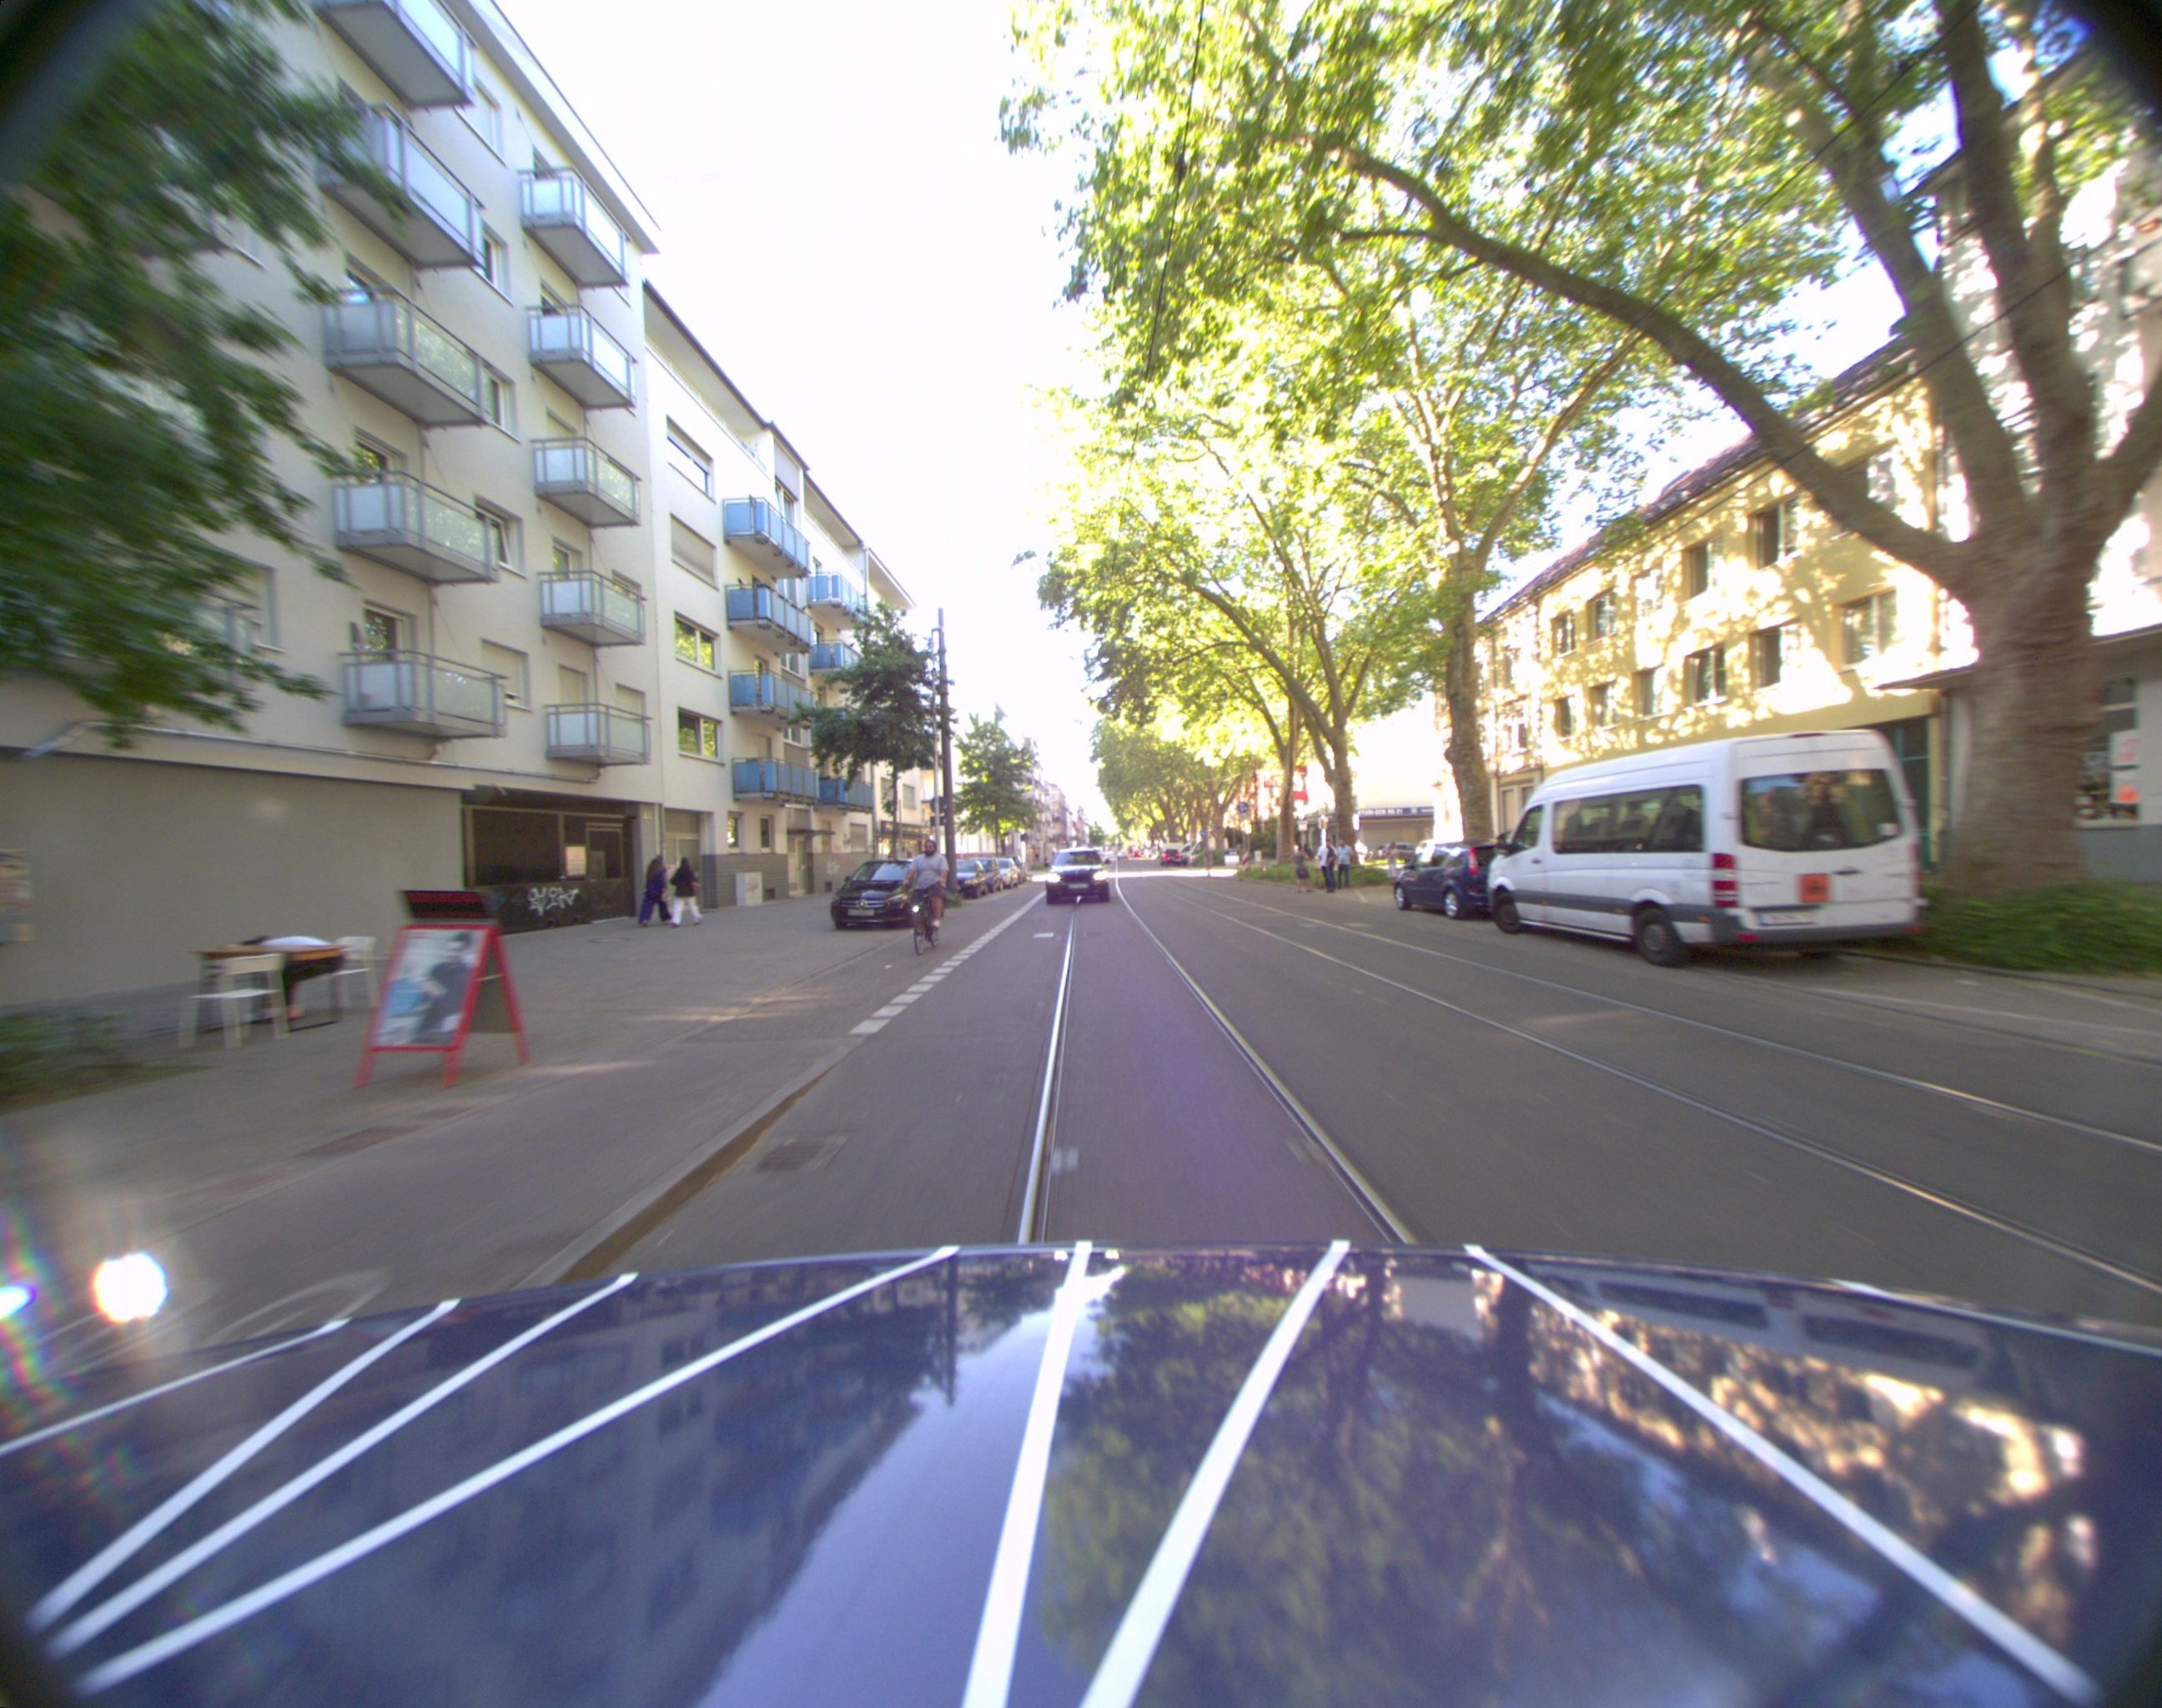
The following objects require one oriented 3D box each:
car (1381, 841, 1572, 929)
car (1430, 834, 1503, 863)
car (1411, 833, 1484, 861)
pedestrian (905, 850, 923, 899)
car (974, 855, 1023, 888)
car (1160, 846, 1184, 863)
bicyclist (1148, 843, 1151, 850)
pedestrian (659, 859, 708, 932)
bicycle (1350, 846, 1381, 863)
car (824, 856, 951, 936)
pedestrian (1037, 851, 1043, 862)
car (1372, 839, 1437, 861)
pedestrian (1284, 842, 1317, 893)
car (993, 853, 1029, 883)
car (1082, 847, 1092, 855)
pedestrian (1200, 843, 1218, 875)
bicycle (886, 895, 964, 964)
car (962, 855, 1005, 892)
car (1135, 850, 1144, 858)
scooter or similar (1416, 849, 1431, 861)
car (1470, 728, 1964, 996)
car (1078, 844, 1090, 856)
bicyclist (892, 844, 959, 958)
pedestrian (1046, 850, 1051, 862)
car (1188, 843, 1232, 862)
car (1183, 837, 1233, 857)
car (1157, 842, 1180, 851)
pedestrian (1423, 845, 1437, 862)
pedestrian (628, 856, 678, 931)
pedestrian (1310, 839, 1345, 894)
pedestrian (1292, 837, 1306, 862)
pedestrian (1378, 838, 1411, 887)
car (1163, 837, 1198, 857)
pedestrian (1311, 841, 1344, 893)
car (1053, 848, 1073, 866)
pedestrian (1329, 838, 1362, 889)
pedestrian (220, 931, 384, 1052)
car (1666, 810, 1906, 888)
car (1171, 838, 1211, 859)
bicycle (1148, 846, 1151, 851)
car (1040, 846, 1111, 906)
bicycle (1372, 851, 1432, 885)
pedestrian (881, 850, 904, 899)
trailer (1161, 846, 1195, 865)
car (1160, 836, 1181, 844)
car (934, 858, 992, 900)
[{"bbox_3d":[8.219,0.547,16.299,1.921,1.553,4.283,-3,1,2],"label":"car"},{"bbox_3d":[20.354,-0.329,40.300,1.783,1.379,3.999,-3,1,0],"label":"car"},{"bbox_3d":[25.058,-0.470,52.020,4.011,1.627,1.801,-3,-3,2],"label":"car"},{"bbox_3d":[-6.456,0.780,29.388,0.477,1.841,0.664,-2,1,0],"label":"pedestrian"},{"bbox_3d":[-3.982,0.818,37.283,1.790,1.528,4.128,0,0,2],"label":"car"},{"bbox_3d":[9.130,-0.002,76.474,1.928,1.674,4.181,0,1,1],"label":"car"},{"bbox_3d":[12.984,-1.403,143.912,0.533,1.206,0.666,-3,1,3],"label":"bicyclist"},{"bbox_3d":[-9.128,0.934,17.485,0.643,1.628,0.870,0,1,1],"label":"pedestrian"},{"bbox_3d":[19.540,0.001,52.123,1.867,1.056,0.656,-3,1,-5],"label":"bicycle"},{"bbox_3d":[-4.480,0.896,18.267,1.763,1.578,4.329,1,1,2],"label":"car"},{"bbox_3d":[-5.747,0.292,106.461,0.590,1.493,0.600,-3,1,3],"label":"pedestrian"},{"bbox_3d":[24.701,-0.340,58.171,4.152,1.469,1.834,-3,1,2],"label":"car"},{"bbox_3d":[7.626,0.463,26.429,0.772,1.725,0.712,-4,2,-38],"label":"pedestrian"},{"bbox_3d":[-3.921,0.754,43.223,1.724,1.562,4.258,0,1,-1],"label":"car"},{"bbox_3d":[1.295,-0.617,162.062,1.867,1.499,4.000,-3,1,3],"label":"car"},{"bbox_3d":[7.342,0.266,43.656,0.700,1.781,0.801,-3,1,-10],"label":"pedestrian"},{"bbox_3d":[-2.618,1.246,13.011,0.790,0.932,1.939,-3,1,3],"label":"bicycle"},{"bbox_3d":[-4.232,0.837,33.295,1.447,1.528,2.881,0,0,2],"label":"car"},{"bbox_3d":[13.863,-0.050,180.170,1.998,1.723,4.400,-3,1,3],"label":"car"},{"bbox_3d":[22.437,0.055,49.784,0.529,0.749,0.896,-3,1,1],"label":"scooter or similar"},{"bbox_3d":[7.837,0.040,10.543,2.112,2.562,6.025,-3,1,5],"label":"car"},{"bbox_3d":[0.532,-0.731,142.209,1.990,2.085,4.470,-3,1,3],"label":"car"},{"bbox_3d":[-2.641,0.767,13.016,0.769,1.821,1.099,-3,1,3],"label":"bicyclist"},{"bbox_3d":[-4.762,0.259,111.188,0.697,1.685,0.678,-3,1,2],"label":"pedestrian"},{"bbox_3d":[12.695,-0.132,74.876,3.997,1.600,1.909,-3,0,1],"label":"car"},{"bbox_3d":[14.243,-0.833,85.506,5.134,1.984,1.999,-3,1,-2],"label":"car"},{"bbox_3d":[16.109,-1.354,139.576,3.997,1.458,2.000,-3,1,1],"label":"car"},{"bbox_3d":[21.845,-0.028,47.566,0.544,1.034,0.545,-4,2,-30],"label":"pedestrian"},{"bbox_3d":[-9.850,0.881,17.522,0.597,1.668,0.934,0,1,0],"label":"pedestrian"},{"bbox_3d":[8.195,0.421,25.255,0.715,1.767,0.769,-4,2,-28],"label":"pedestrian"},{"bbox_3d":[16.068,-0.342,56.080,0.724,1.770,0.669,-3,2,-7],"label":"pedestrian"},{"bbox_3d":[10.679,0.281,25.847,0.768,1.600,0.715,-2,2,44],"label":"pedestrian"},{"bbox_3d":[14.218,-1.019,108.904,4.660,2.518,2.000,-3,1,3],"label":"car"},{"bbox_3d":[8.418,0.430,25.996,0.768,1.725,0.715,-2,2,44],"label":"pedestrian"},{"bbox_3d":[-2.162,0.356,92.057,1.957,1.914,4.000,-3,1,3],"label":"car"},{"bbox_3d":[9.182,0.338,26.375,0.718,1.725,0.768,-4,2,-43],"label":"pedestrian"},{"bbox_3d":[-7.992,1.369,7.826,0.659,1.021,1.003,-2,1,31],"label":"pedestrian"},{"bbox_3d":[18.379,-0.157,20.230,1.998,1.723,4.898,-3,1,3],"label":"car"},{"bbox_3d":[13.627,-0.718,94.298,4.660,2.293,2.000,-3,1,3],"label":"car"},{"bbox_3d":[13.008,-1.060,143.936,0.533,0.901,1.557,-3,1,3],"label":"bicycle"},{"bbox_3d":[-0.088,0.641,25.085,1.998,1.723,4.400,-3,1,3],"label":"car"},{"bbox_3d":[11.201,0.493,26.512,1.847,1.074,0.570,-2,1,30],"label":"bicycle"},{"bbox_3d":[-7.256,0.796,29.309,0.663,1.841,0.539,-2,1,2],"label":"pedestrian"},{"bbox_3d":[8.973,0.094,70.930,2.452,1.622,6.583,0,1,1],"label":"trailer"},{"bbox_3d":[18.535,-2.980,157.642,3.997,1.458,2.000,-3,1,1],"label":"car"},{"bbox_3d":[-4.451,0.919,29.234,1.626,1.473,3.889,0,0,0],"label":"car"}]
